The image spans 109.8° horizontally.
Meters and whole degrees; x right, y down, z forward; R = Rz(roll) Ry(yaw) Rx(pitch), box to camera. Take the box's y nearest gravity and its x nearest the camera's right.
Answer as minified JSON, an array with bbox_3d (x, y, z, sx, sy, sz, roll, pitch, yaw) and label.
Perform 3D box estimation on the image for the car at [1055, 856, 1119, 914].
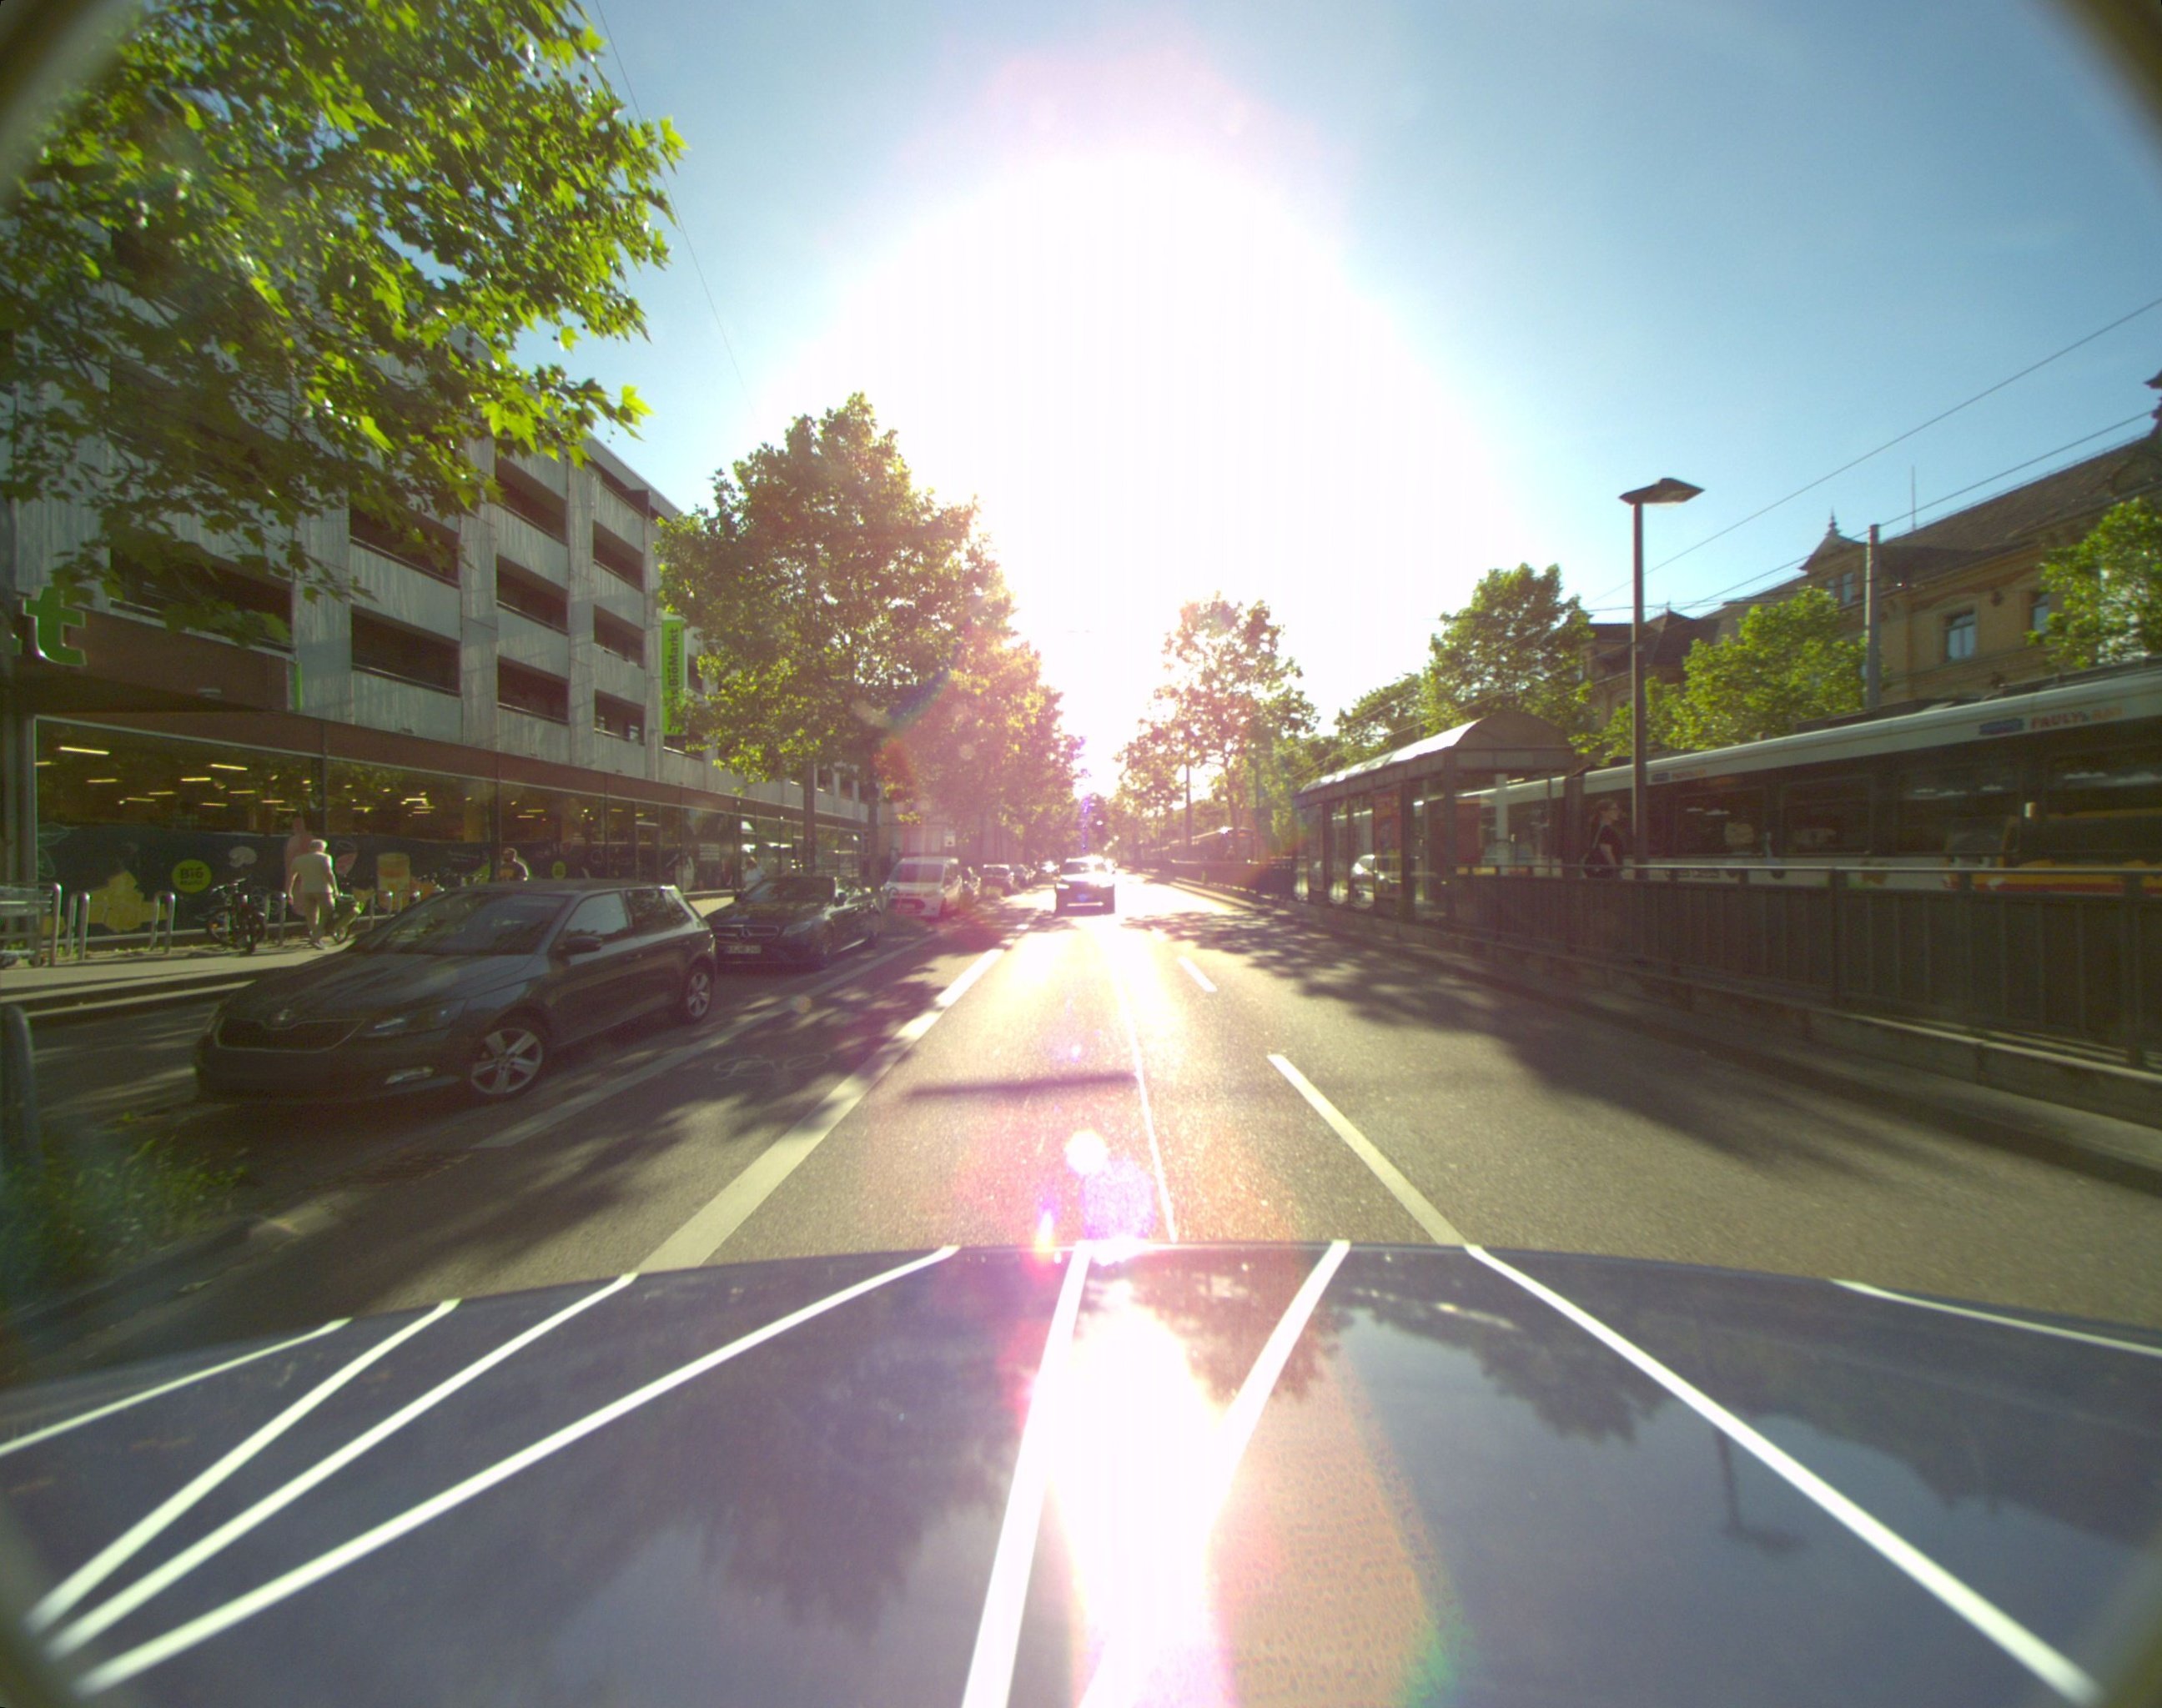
[{"bbox_3d":[0.221,0.943,25.416,1.914,1.695,4.273,-2,0,1],"label":"car"}]

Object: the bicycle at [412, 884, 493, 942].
[{"bbox_3d":[-12.398,1.136,14.969,1.700,1.049,0.587,1,-1,28],"label":"bicycle"}]

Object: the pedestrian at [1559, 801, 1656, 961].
[{"bbox_3d":[5.580,0.278,8.082,0.568,1.630,0.622,-2,0,3],"label":"pedestrian"}]

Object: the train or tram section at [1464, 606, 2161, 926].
[{"bbox_3d":[13.127,-0.963,14.319,2.856,3.414,18.216,-2,0,1],"label":"train or tram section"}]

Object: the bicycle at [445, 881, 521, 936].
[{"bbox_3d":[-12.569,1.123,15.967,1.700,1.049,0.587,2,0,28],"label":"bicycle"}]

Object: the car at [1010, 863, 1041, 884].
[{"bbox_3d":[-3.908,1.347,53.782,1.781,1.373,4.276,-1,0,1],"label":"car"}]

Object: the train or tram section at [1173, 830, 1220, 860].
[{"bbox_3d":[11.024,-0.766,73.976,2.569,2.516,15.073,-1,0,1],"label":"train or tram section"}]

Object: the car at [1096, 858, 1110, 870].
[{"bbox_3d":[2.940,1.323,100.213,1.706,1.407,3.876,-2,0,3],"label":"car"}]

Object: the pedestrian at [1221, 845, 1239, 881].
[{"bbox_3d":[7.014,0.420,35.725,0.683,1.700,0.624,-1,0,0],"label":"pedestrian"}]

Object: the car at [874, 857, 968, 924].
[{"bbox_3d":[-4.583,0.997,22.401,1.768,1.781,4.393,0,0,1],"label":"car"}]

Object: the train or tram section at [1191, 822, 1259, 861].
[{"bbox_3d":[10.734,-0.796,58.595,2.569,2.549,15.676,-1,0,1],"label":"train or tram section"}]

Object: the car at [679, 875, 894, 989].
[{"bbox_3d":[-4.664,1.144,12.895,1.766,1.409,4.700,-2,0,0],"label":"car"}]

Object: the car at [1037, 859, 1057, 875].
[{"bbox_3d":[-3.559,1.309,79.759,1.839,1.555,4.274,-2,0,1],"label":"car"}]

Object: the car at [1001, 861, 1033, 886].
[{"bbox_3d":[-4.051,1.211,48.477,1.629,1.433,3.930,0,0,1],"label":"car"}]

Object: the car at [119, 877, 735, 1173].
[{"bbox_3d":[-4.646,1.043,6.334,1.568,1.541,4.000,-1,0,1],"label":"car"}]

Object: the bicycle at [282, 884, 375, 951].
[{"bbox_3d":[-12.831,1.056,12.952,1.700,1.049,0.587,1,-3,28],"label":"bicycle"}]

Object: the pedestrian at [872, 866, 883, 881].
[{"bbox_3d":[-14.952,1.434,55.806,0.560,1.103,0.684,0,0,1],"label":"pedestrian"}]

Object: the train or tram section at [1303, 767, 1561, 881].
[{"bbox_3d":[13.503,-0.892,32.575,2.878,3.414,18.277,-2,0,1],"label":"train or tram section"}]

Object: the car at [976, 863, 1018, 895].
[{"bbox_3d":[-4.166,1.210,38.325,1.677,1.430,3.690,1,1,0],"label":"car"}]

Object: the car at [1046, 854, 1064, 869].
[{"bbox_3d":[-2.991,0.841,89.418,1.839,1.666,4.274,-2,0,1],"label":"car"}]

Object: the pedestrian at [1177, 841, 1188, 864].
[{"bbox_3d":[7.047,-0.109,52.808,0.700,1.626,0.761,-1,0,1],"label":"pedestrian"}]

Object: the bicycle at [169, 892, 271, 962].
[{"bbox_3d":[-12.812,1.059,11.305,1.647,0.910,0.587,1,-2,28],"label":"bicycle"}]

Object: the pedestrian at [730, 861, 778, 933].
[{"bbox_3d":[-7.575,0.971,17.639,0.699,1.603,0.868,1,0,3],"label":"pedestrian"}]

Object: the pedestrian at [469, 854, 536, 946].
[{"bbox_3d":[-10.911,0.837,14.353,0.559,1.668,0.882,1,0,0],"label":"pedestrian"}]

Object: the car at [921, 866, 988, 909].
[{"bbox_3d":[-4.631,1.194,28.424,1.733,1.395,4.295,1,0,0],"label":"car"}]

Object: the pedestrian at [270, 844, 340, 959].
[{"bbox_3d":[-11.960,0.723,11.729,0.615,1.705,0.611,3,-2,-39],"label":"pedestrian"}]
